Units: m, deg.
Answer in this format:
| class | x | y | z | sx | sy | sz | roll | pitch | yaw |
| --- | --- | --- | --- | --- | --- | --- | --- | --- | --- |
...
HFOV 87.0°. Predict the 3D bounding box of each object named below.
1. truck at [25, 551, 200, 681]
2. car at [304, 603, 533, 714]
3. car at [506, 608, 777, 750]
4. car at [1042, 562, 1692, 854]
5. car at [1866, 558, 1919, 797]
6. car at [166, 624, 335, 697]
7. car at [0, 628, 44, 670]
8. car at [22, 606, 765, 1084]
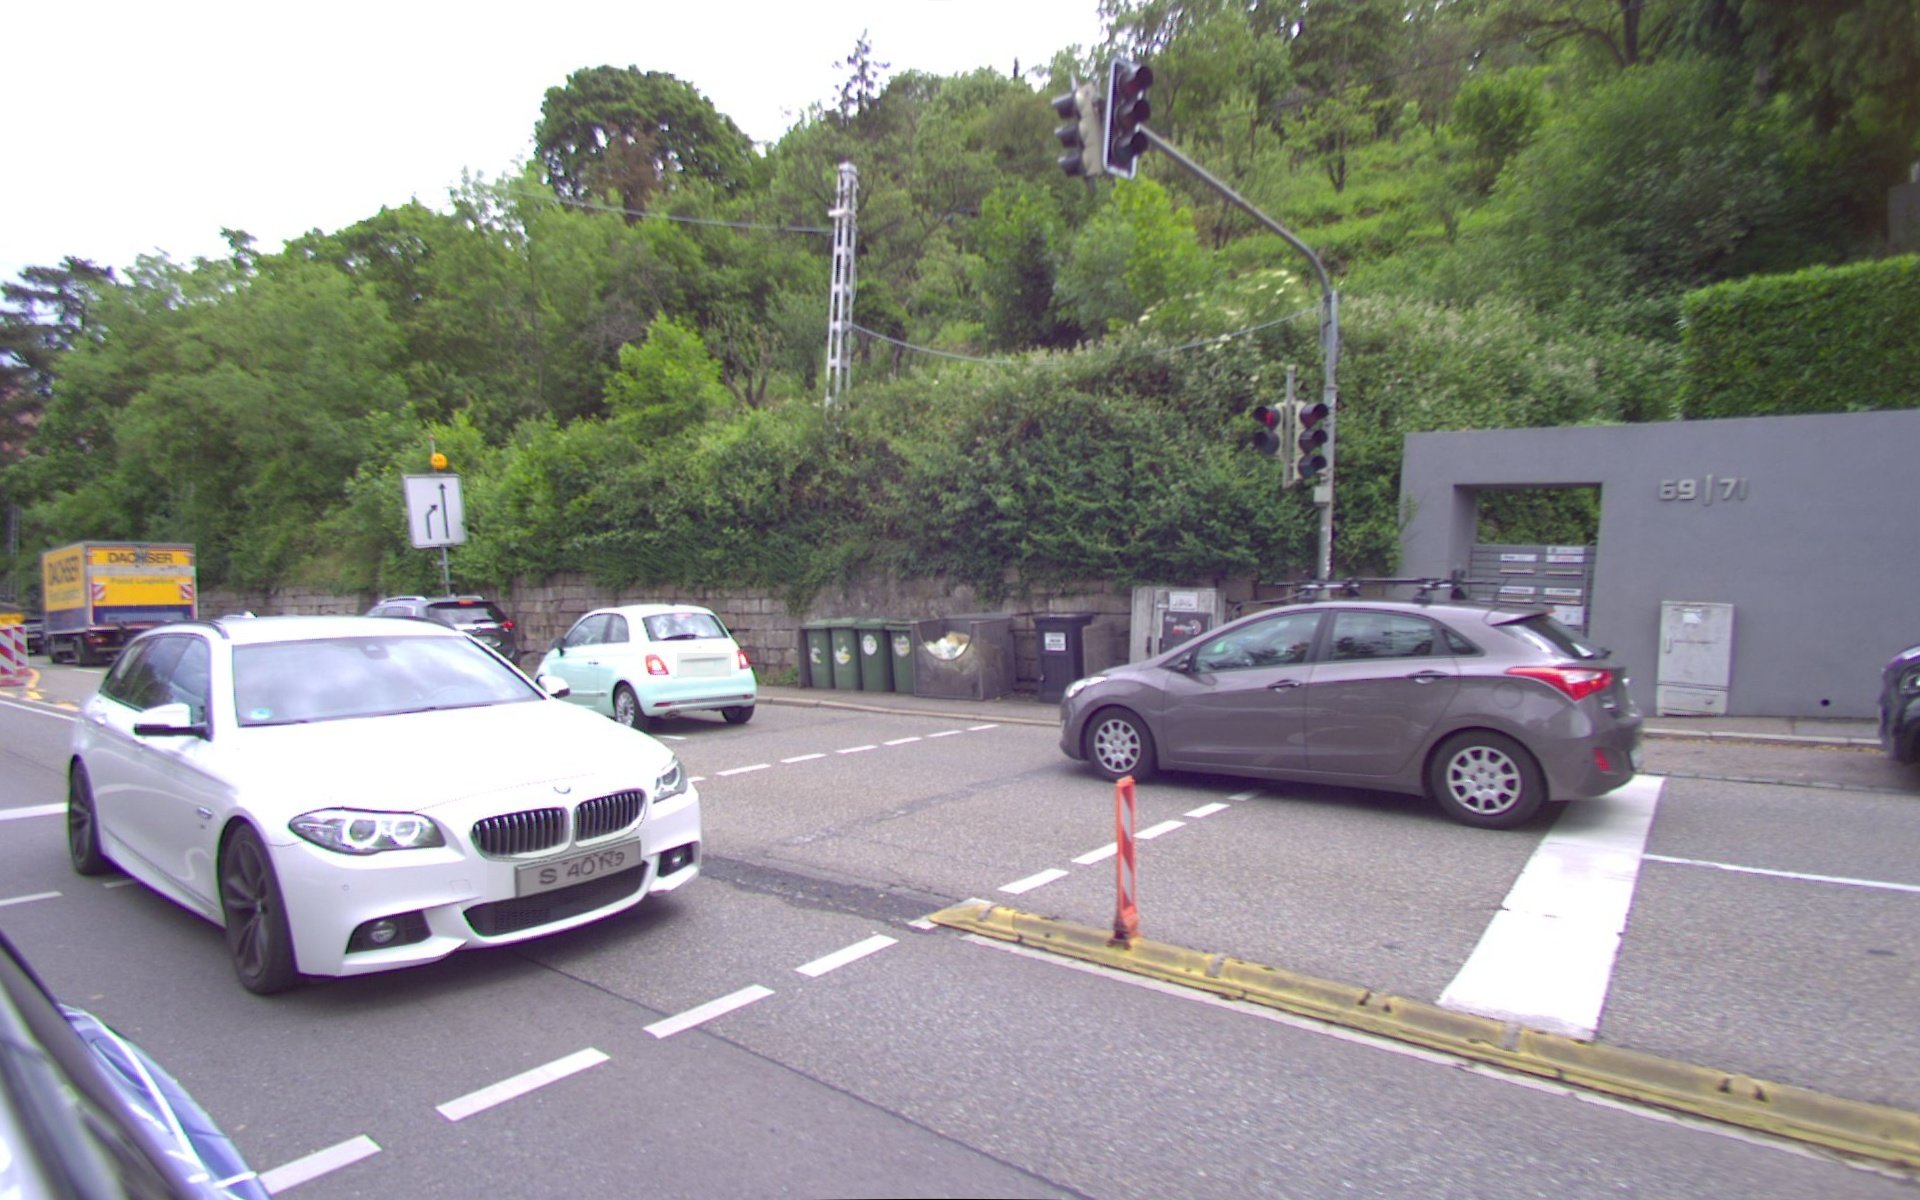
| class | x | y | z | sx | sy | sz | roll | pitch | yaw |
| --- | --- | --- | --- | --- | --- | --- | --- | --- | --- |
| truck | -25.992 | 0.499 | 30.909 | 7.341 | 3.536 | 2.704 | -1 | -1 | 39 |
| car | -9.681 | 0.970 | 17.950 | 4.665 | 1.710 | 1.865 | -2 | -1 | 38 |
| car | -4.095 | 0.895 | 12.732 | 3.661 | 1.477 | 1.692 | -2 | 0 | 44 |
| car | 2.836 | 0.617 | 7.566 | 4.202 | 1.610 | 1.694 | -1 | 0 | 39 |
| car | 8.102 | 0.457 | 6.717 | 2.954 | 1.584 | 1.695 | -3 | 1 | 39 |
| car | -16.078 | 1.302 | 22.837 | 4.868 | 1.440 | 1.792 | -2 | -1 | 38 |
| car | -36.326 | 1.841 | 38.230 | 4.739 | 1.452 | 1.754 | -1 | 1 | 38 |
| car | -3.377 | 0.831 | 5.498 | 4.873 | 1.478 | 1.830 | -1 | 1 | 39 |
